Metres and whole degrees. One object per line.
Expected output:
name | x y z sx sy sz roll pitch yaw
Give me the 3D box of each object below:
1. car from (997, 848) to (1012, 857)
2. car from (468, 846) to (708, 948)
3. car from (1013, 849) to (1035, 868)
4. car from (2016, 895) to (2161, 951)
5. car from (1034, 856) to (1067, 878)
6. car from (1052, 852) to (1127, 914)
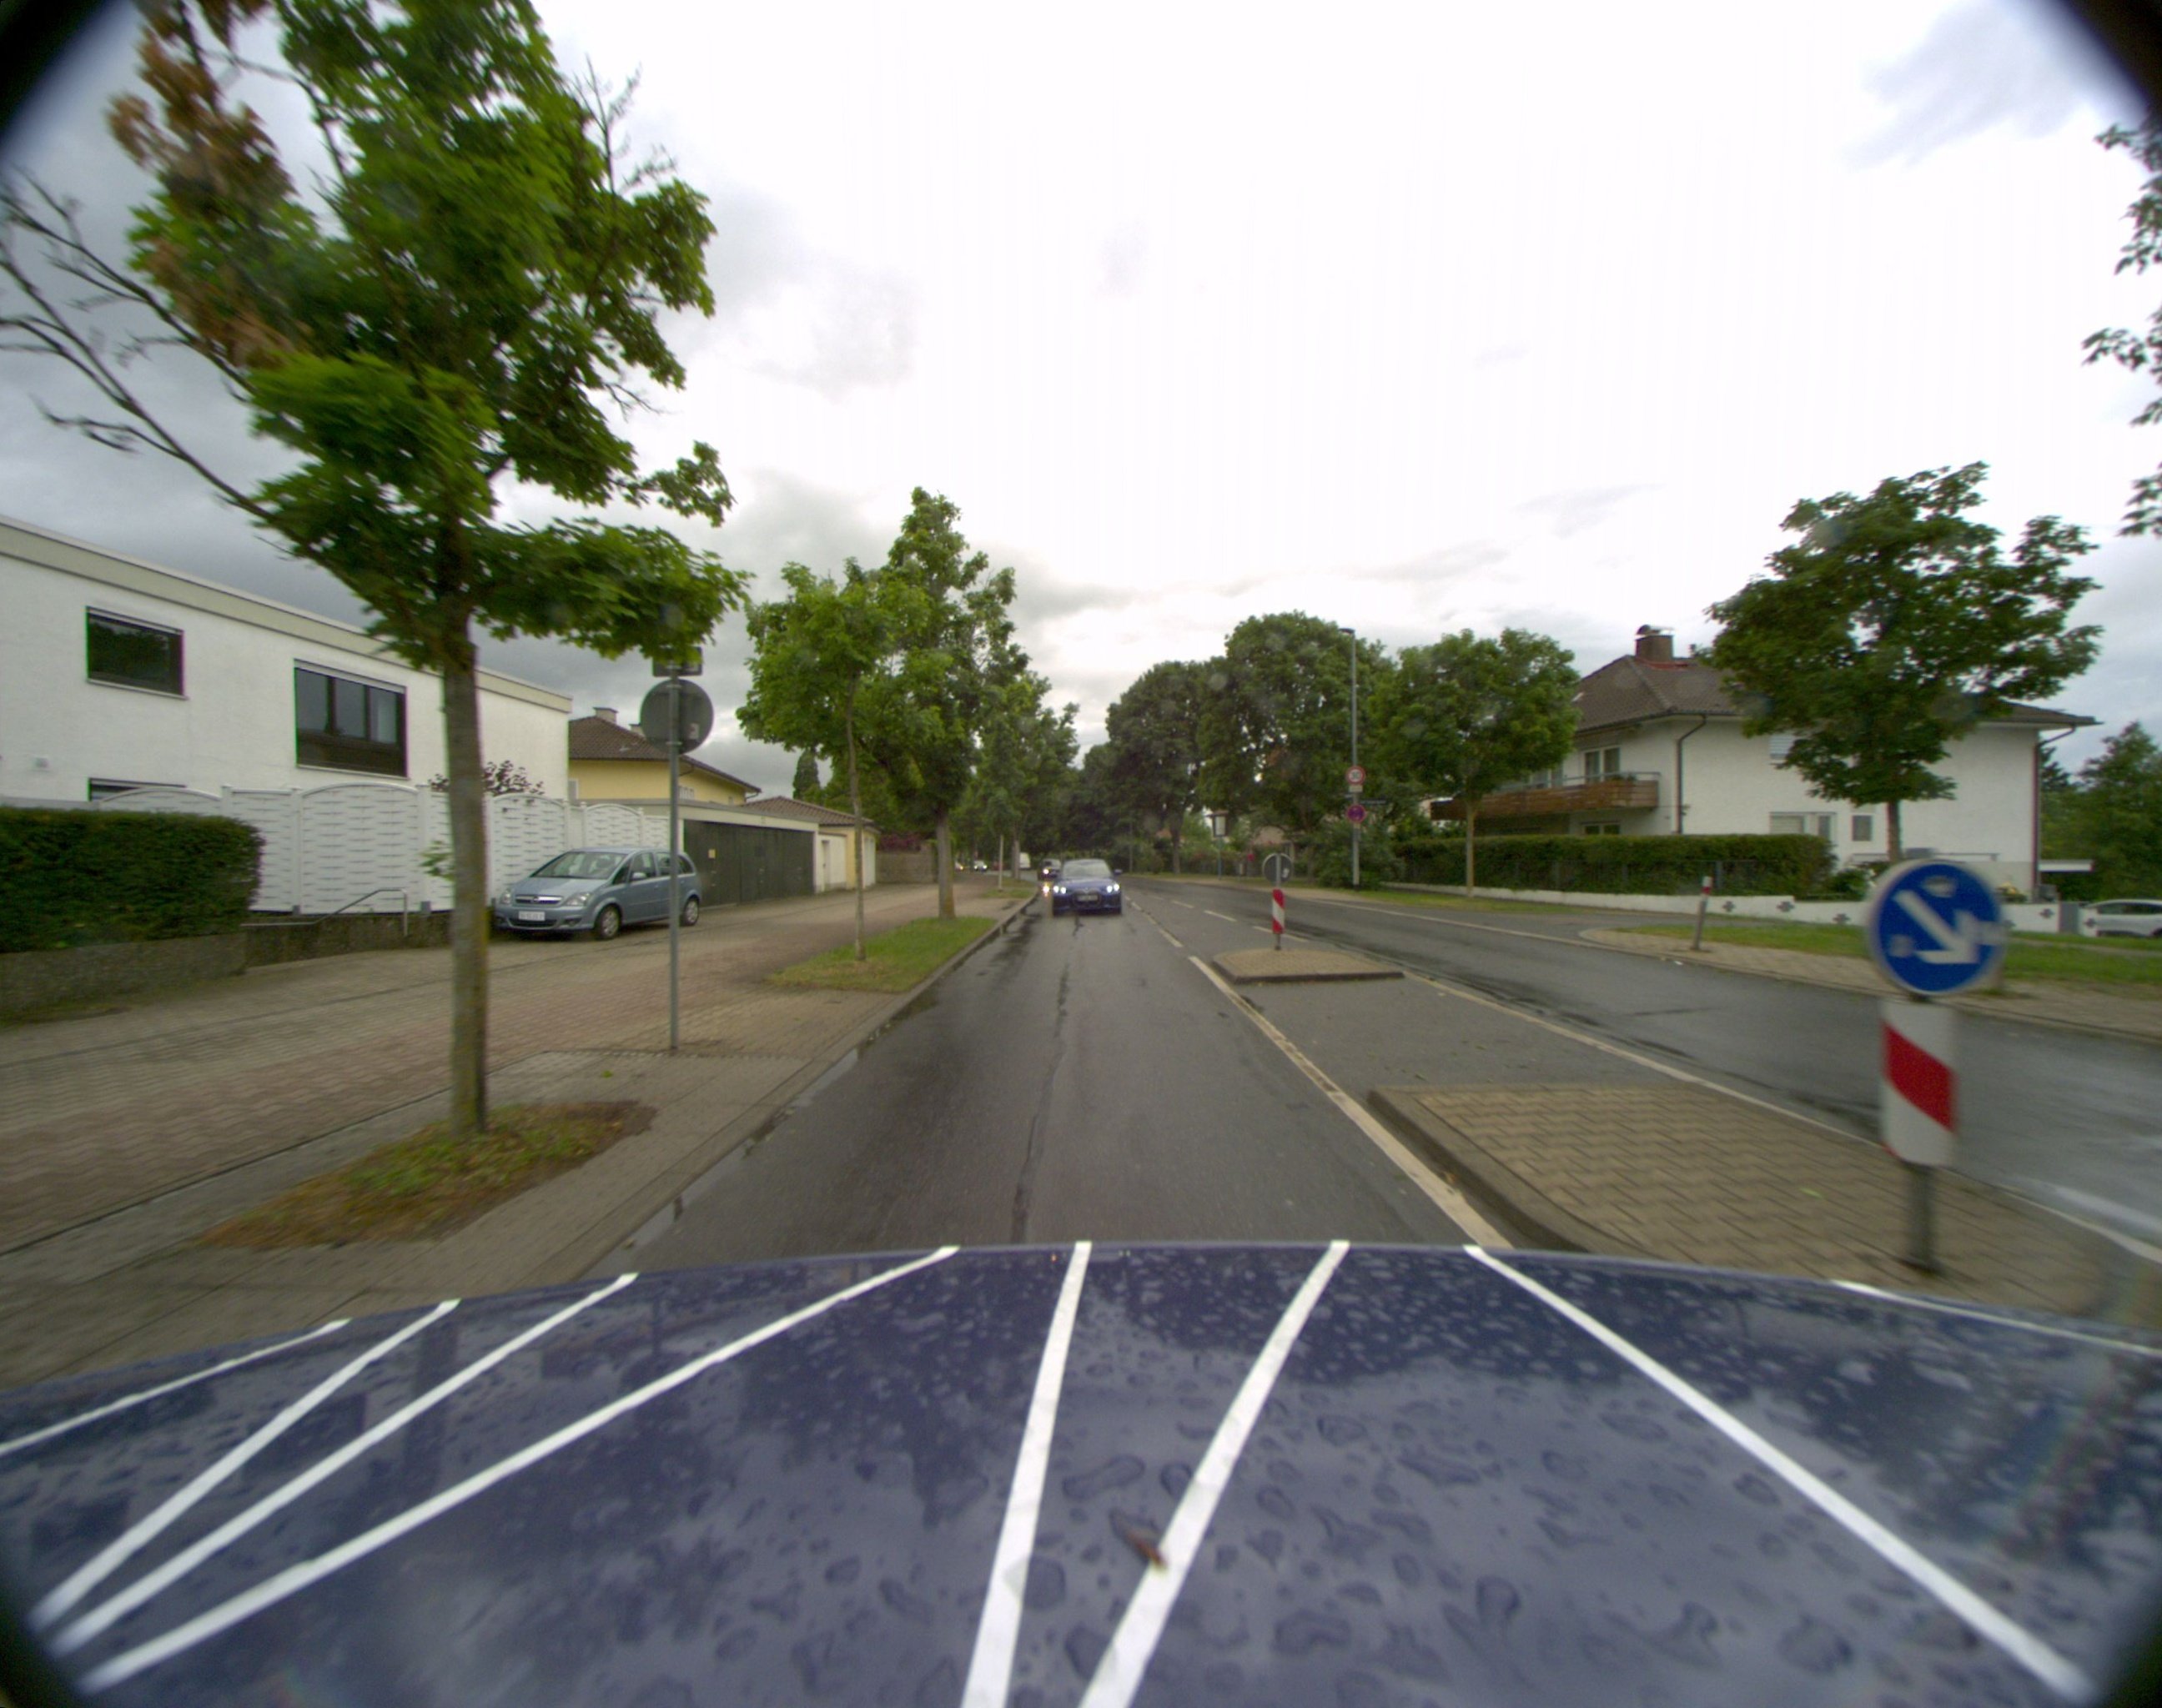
car | -13.687 -0.335 135.334 1.850 1.457 4.244 -1 -1 -16
car | -8.759 0.678 13.987 1.748 1.601 4.000 0 0 1
car | -7.990 0.679 106.159 2.001 2.545 5.226 -1 -1 -16
car | 33.824 2.216 24.575 2.000 1.499 4.046 0 0 -8
car | -2.205 0.970 54.306 1.658 1.443 3.997 -2 -1 -12
car | 0.177 0.809 21.894 1.896 1.531 4.000 -3 -1 -2
